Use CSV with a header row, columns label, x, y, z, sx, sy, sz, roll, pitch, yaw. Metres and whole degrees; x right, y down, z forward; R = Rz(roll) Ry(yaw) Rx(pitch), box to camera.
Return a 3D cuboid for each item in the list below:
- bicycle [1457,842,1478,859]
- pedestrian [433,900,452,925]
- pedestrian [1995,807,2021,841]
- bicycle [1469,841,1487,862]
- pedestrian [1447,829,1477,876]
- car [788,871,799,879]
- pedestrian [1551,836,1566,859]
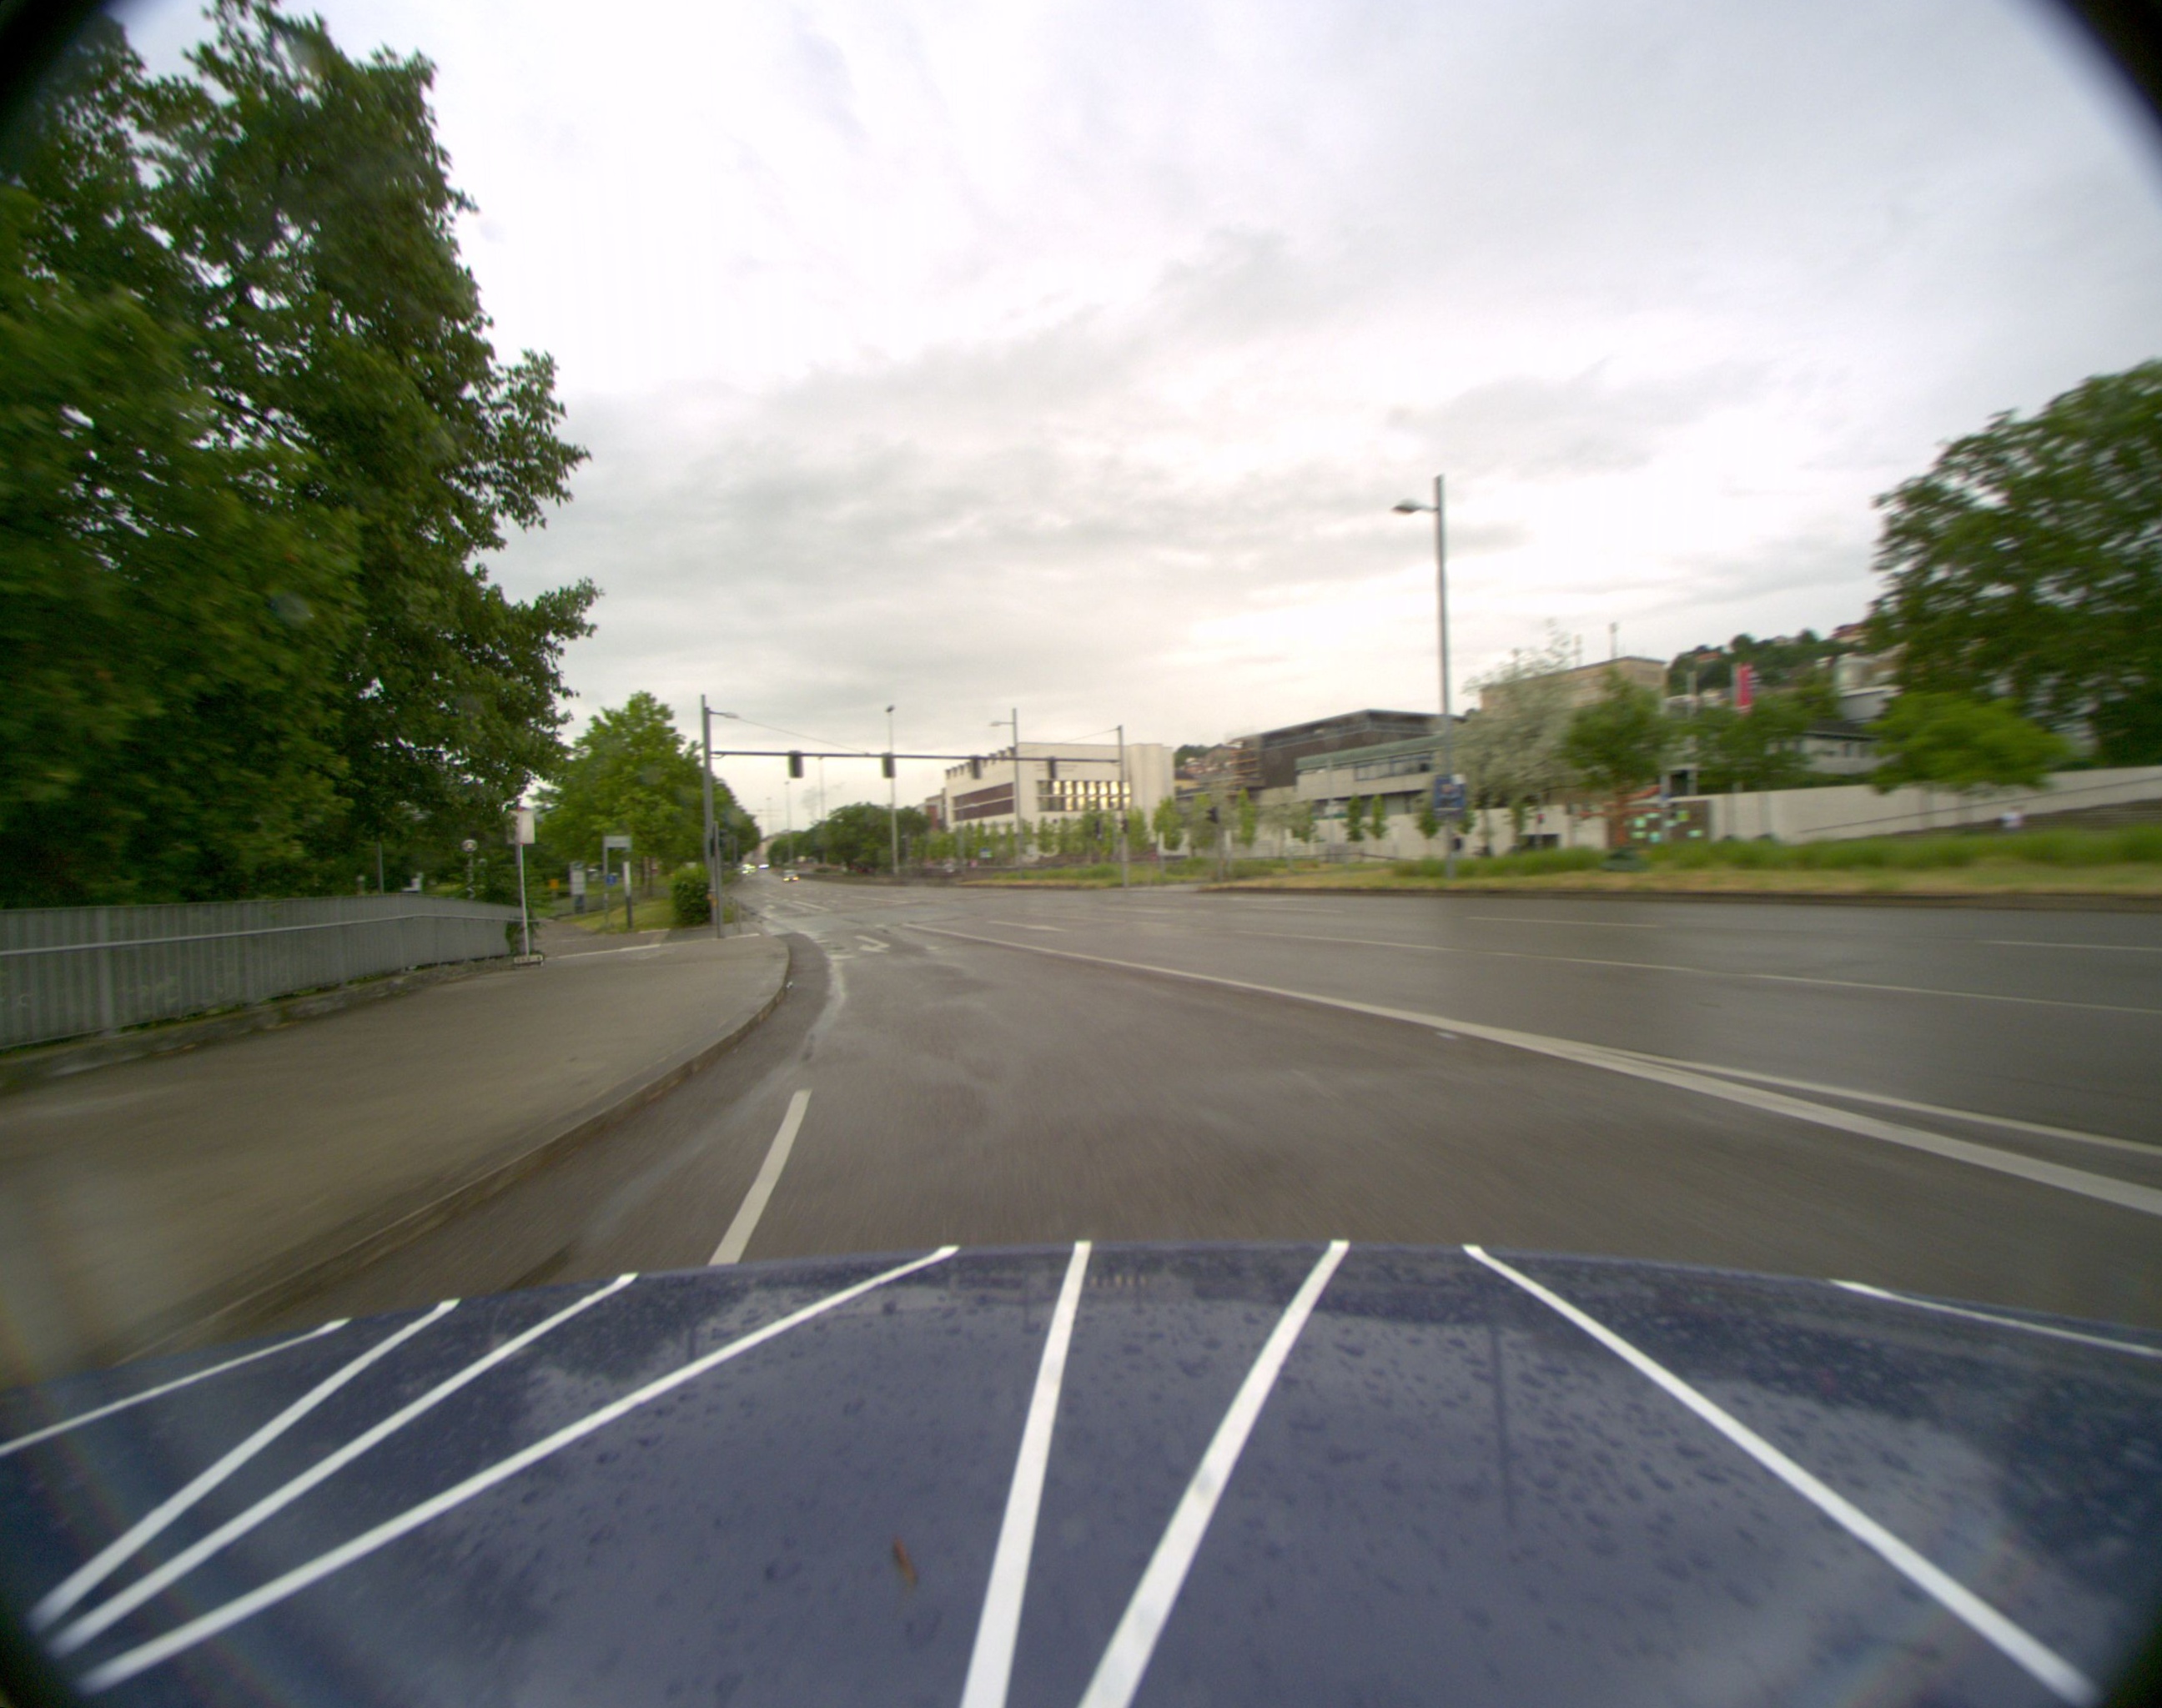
label,x,y,z,sx,sy,sz,roll,pitch,yaw
bicycle,28.150,-0.249,55.356,1.706,1.155,0.529,-5,3,-34
pedestrian,-43.283,3.967,51.516,0.673,1.560,0.725,-4,3,-17
pedestrian,39.495,-1.276,32.382,0.494,1.415,0.631,-5,3,-29
bicycle,27.579,-0.176,52.759,1.483,1.300,0.556,-5,3,-40
pedestrian,18.039,-0.065,36.011,0.770,2.078,0.725,-5,-3,-22
car,-46.787,3.455,123.575,1.520,1.138,2.755,-4,2,-22
pedestrian,29.506,-0.391,46.959,0.468,1.375,0.576,-4,3,-13
